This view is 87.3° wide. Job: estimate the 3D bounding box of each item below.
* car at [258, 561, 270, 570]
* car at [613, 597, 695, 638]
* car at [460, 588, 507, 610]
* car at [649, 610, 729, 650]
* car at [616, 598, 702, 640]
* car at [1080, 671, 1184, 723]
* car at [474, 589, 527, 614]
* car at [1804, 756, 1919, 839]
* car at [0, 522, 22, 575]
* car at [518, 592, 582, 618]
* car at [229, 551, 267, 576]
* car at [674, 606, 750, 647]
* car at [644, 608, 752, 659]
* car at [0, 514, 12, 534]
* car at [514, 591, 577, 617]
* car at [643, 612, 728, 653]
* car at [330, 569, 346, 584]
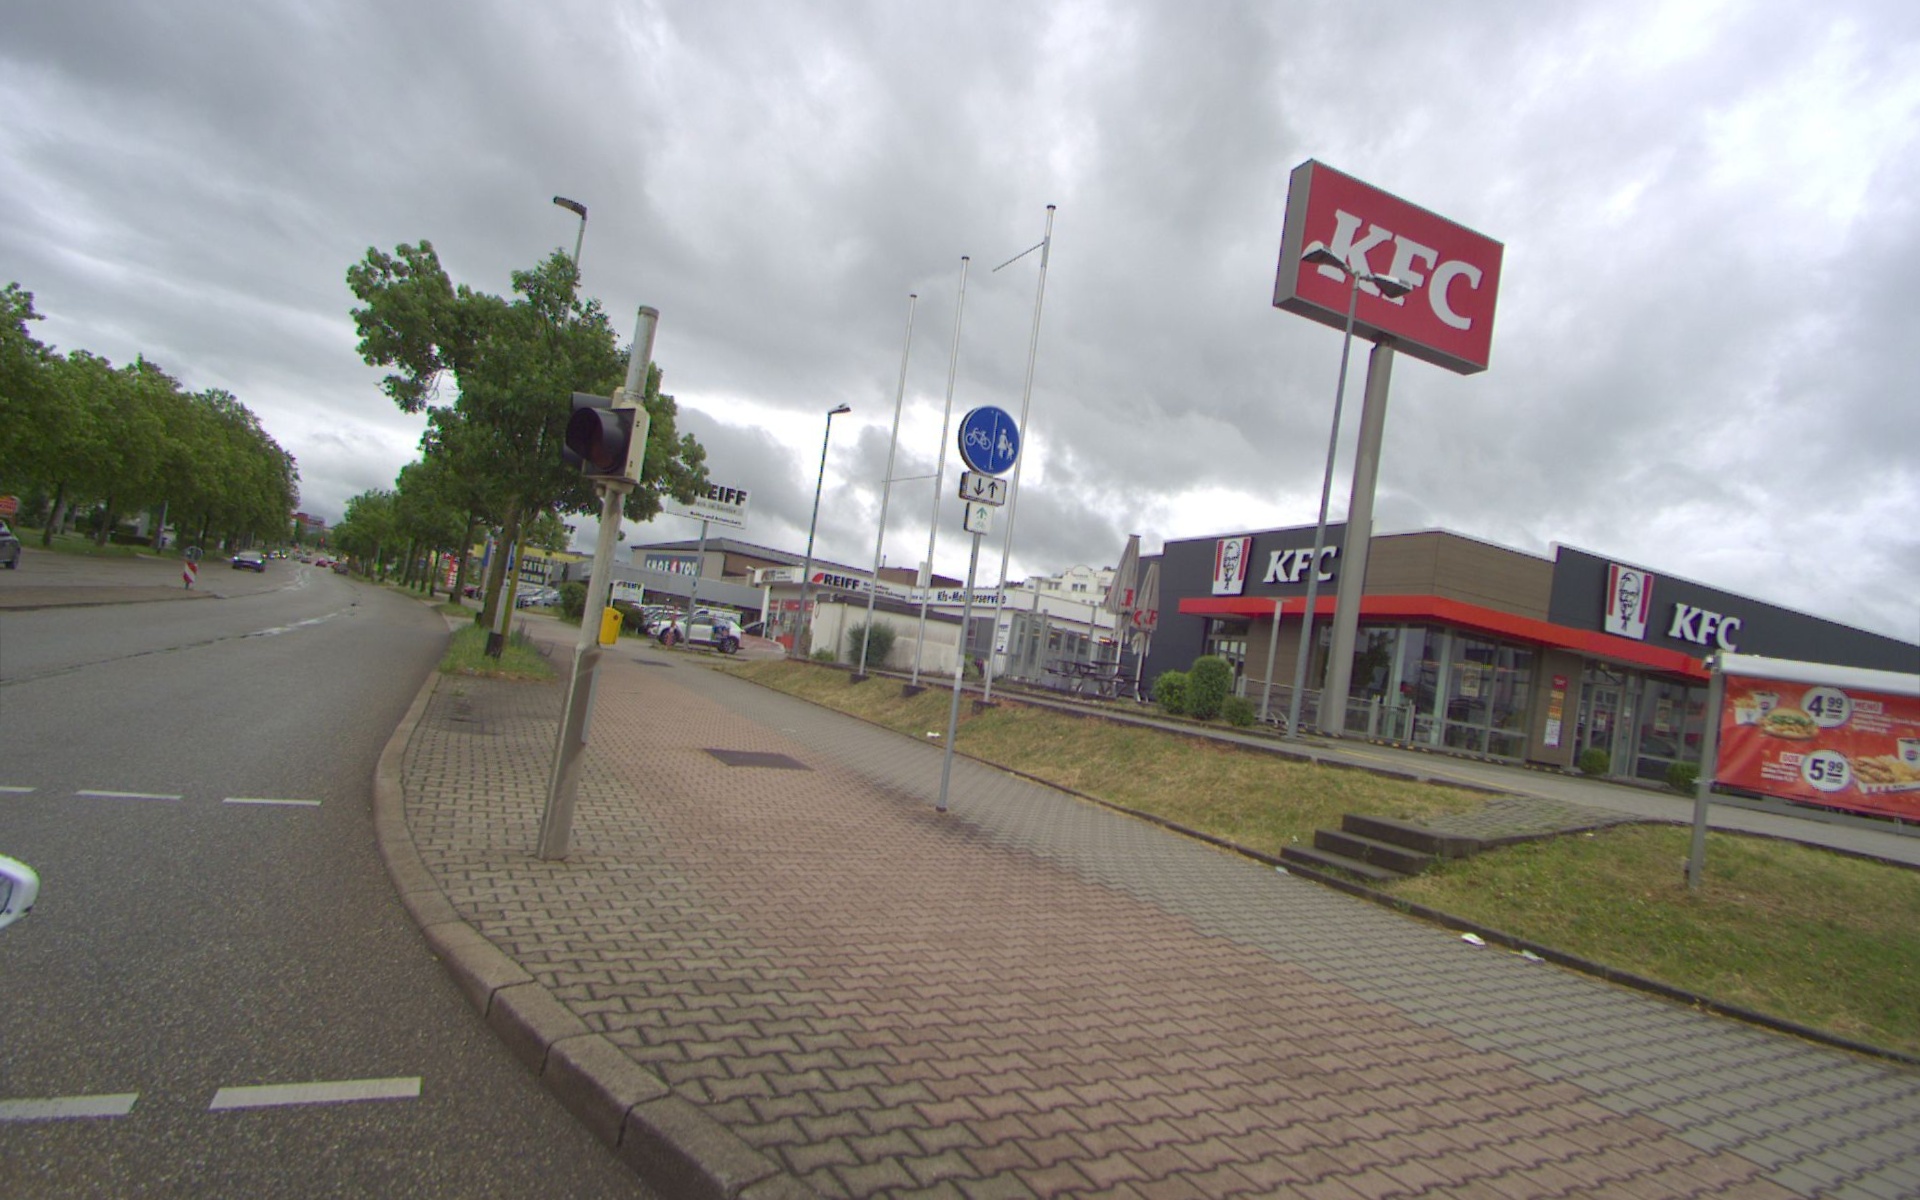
[{"bbox_3d":[-140.495,-6.955,203.073,1.793,1.479,3.815,9,-3,-32],"label":"car"},{"bbox_3d":[-17.358,1.005,57.213,4.086,1.682,1.819,8,-1,-9],"label":"car"},{"bbox_3d":[-45.728,-0.119,96.573,3.816,1.622,1.781,8,-2,-33],"label":"car"},{"bbox_3d":[-14.339,1.583,53.207,3.884,1.540,1.728,9,-3,-18],"label":"car"},{"bbox_3d":[-16.338,1.042,54.817,4.086,1.682,1.819,8,-1,-9],"label":"car"},{"bbox_3d":[7.754,4.390,45.414,4.124,1.719,1.895,9,-4,-22],"label":"car"},{"bbox_3d":[-40.816,0.112,89.340,3.964,1.555,1.785,10,-4,-33],"label":"car"},{"bbox_3d":[25.512,5.396,26.387,1.870,1.759,4.718,9,-3,-24],"label":"car"},{"bbox_3d":[-28.496,-1.614,28.782,1.634,1.525,3.861,10,-4,-33],"label":"car"},{"bbox_3d":[-28.851,0.345,70.844,3.806,1.479,1.813,6,-1,-33],"label":"car"},{"bbox_3d":[-55.807,-2.810,78.955,1.799,1.578,4.567,10,-4,-29],"label":"car"},{"bbox_3d":[-17.416,1.883,70.760,4.627,2.173,1.949,10,-4,-33],"label":"car"},{"bbox_3d":[-11.395,1.475,43.738,4.137,1.568,1.880,10,-3,-24],"label":"car"},{"bbox_3d":[-64.422,-5.320,65.778,3.152,1.166,1.284,13,-5,-25],"label":"car"},{"bbox_3d":[-30.098,0.310,73.132,3.955,1.562,1.799,6,-1,-31],"label":"car"},{"bbox_3d":[-13.872,1.631,50.832,3.942,1.539,1.713,9,-3,-18],"label":"car"},{"bbox_3d":[-93.473,-3.524,151.177,1.734,2.035,3.969,10,-4,-31],"label":"car"}]
